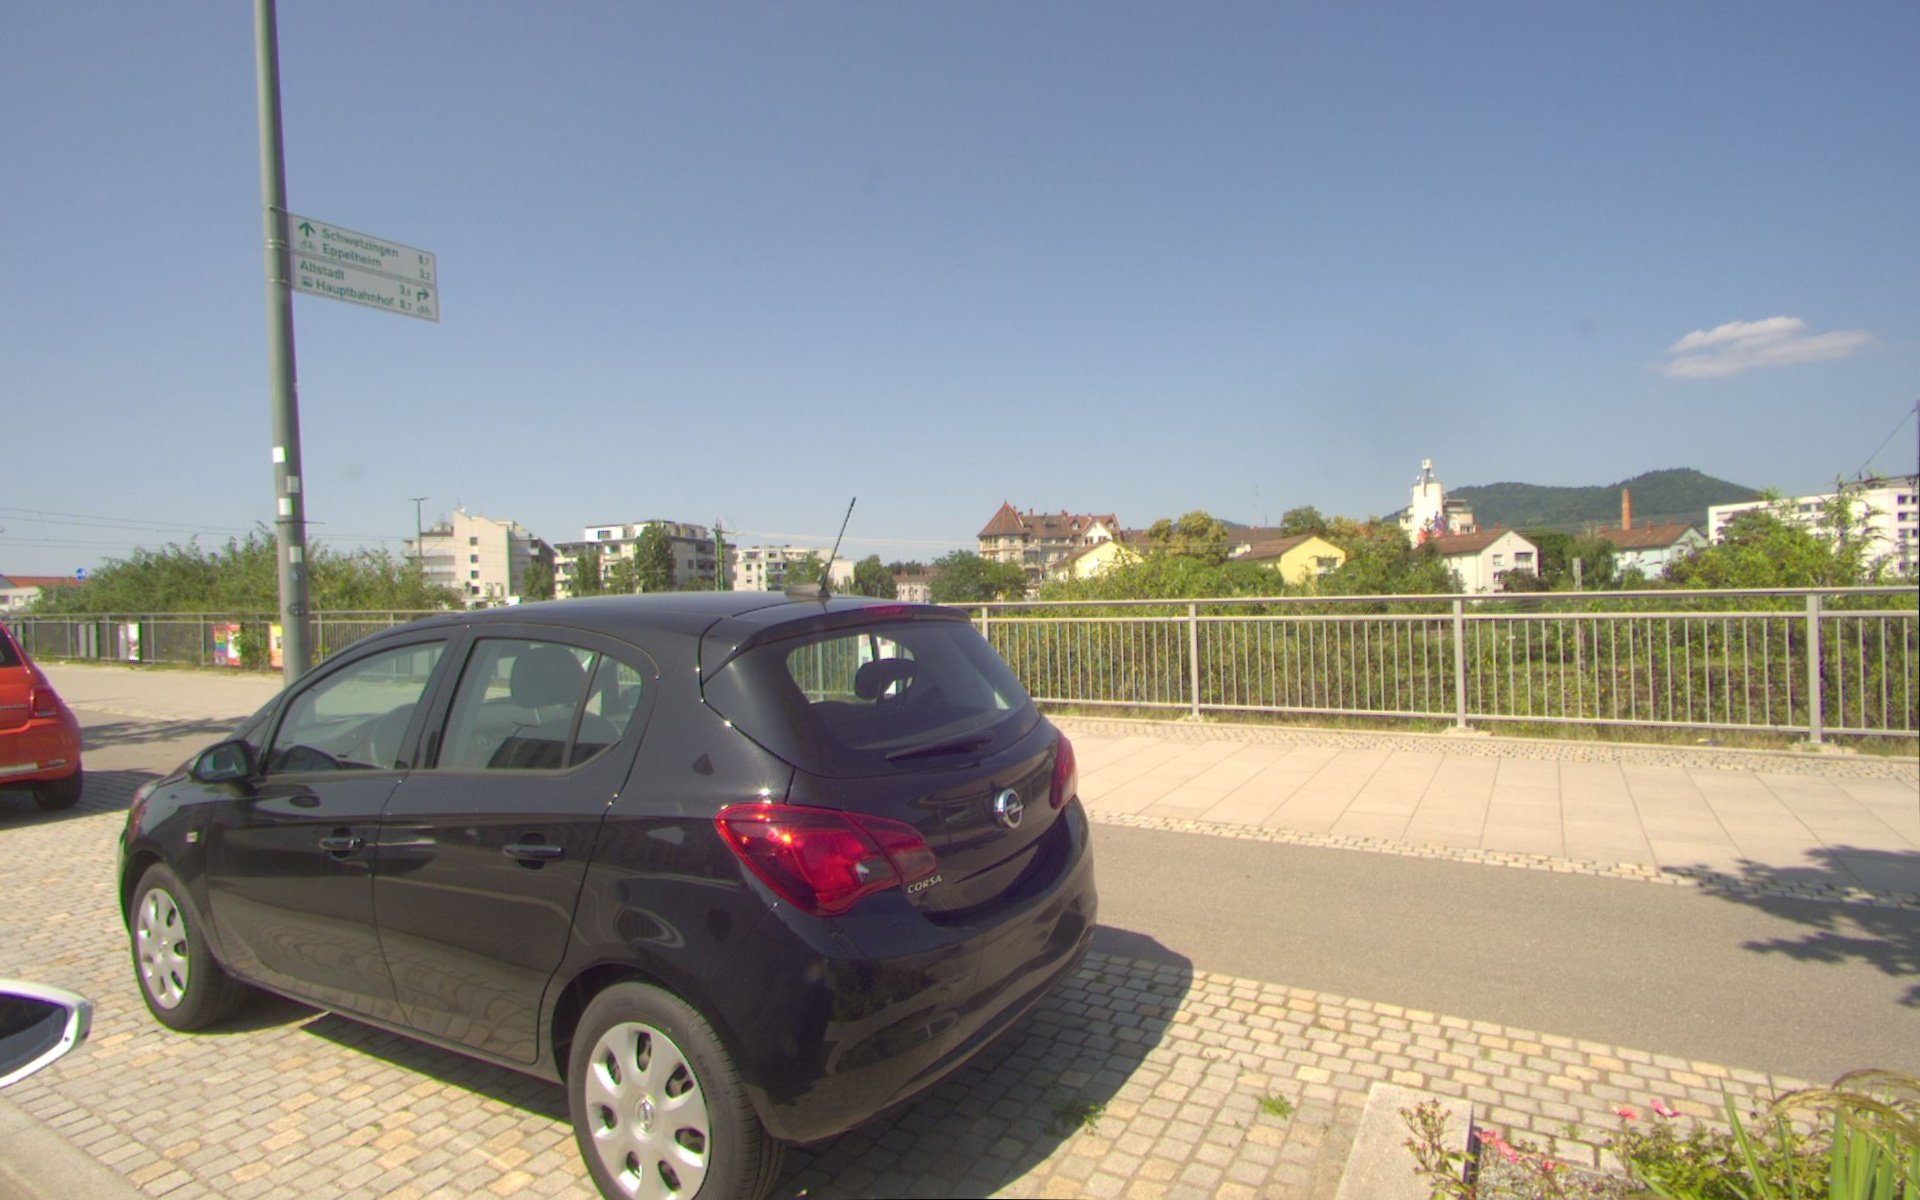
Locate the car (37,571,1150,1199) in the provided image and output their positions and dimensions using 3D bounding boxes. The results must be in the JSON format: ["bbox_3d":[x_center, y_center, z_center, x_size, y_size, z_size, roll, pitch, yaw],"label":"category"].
[{"bbox_3d":[-1.498,0.694,3.596,3.943,1.446,1.656,-1,1,32],"label":"car"}]

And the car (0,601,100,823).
[{"bbox_3d":[-8.150,0.801,7.587,3.305,1.517,1.605,-1,2,34],"label":"car"}]
